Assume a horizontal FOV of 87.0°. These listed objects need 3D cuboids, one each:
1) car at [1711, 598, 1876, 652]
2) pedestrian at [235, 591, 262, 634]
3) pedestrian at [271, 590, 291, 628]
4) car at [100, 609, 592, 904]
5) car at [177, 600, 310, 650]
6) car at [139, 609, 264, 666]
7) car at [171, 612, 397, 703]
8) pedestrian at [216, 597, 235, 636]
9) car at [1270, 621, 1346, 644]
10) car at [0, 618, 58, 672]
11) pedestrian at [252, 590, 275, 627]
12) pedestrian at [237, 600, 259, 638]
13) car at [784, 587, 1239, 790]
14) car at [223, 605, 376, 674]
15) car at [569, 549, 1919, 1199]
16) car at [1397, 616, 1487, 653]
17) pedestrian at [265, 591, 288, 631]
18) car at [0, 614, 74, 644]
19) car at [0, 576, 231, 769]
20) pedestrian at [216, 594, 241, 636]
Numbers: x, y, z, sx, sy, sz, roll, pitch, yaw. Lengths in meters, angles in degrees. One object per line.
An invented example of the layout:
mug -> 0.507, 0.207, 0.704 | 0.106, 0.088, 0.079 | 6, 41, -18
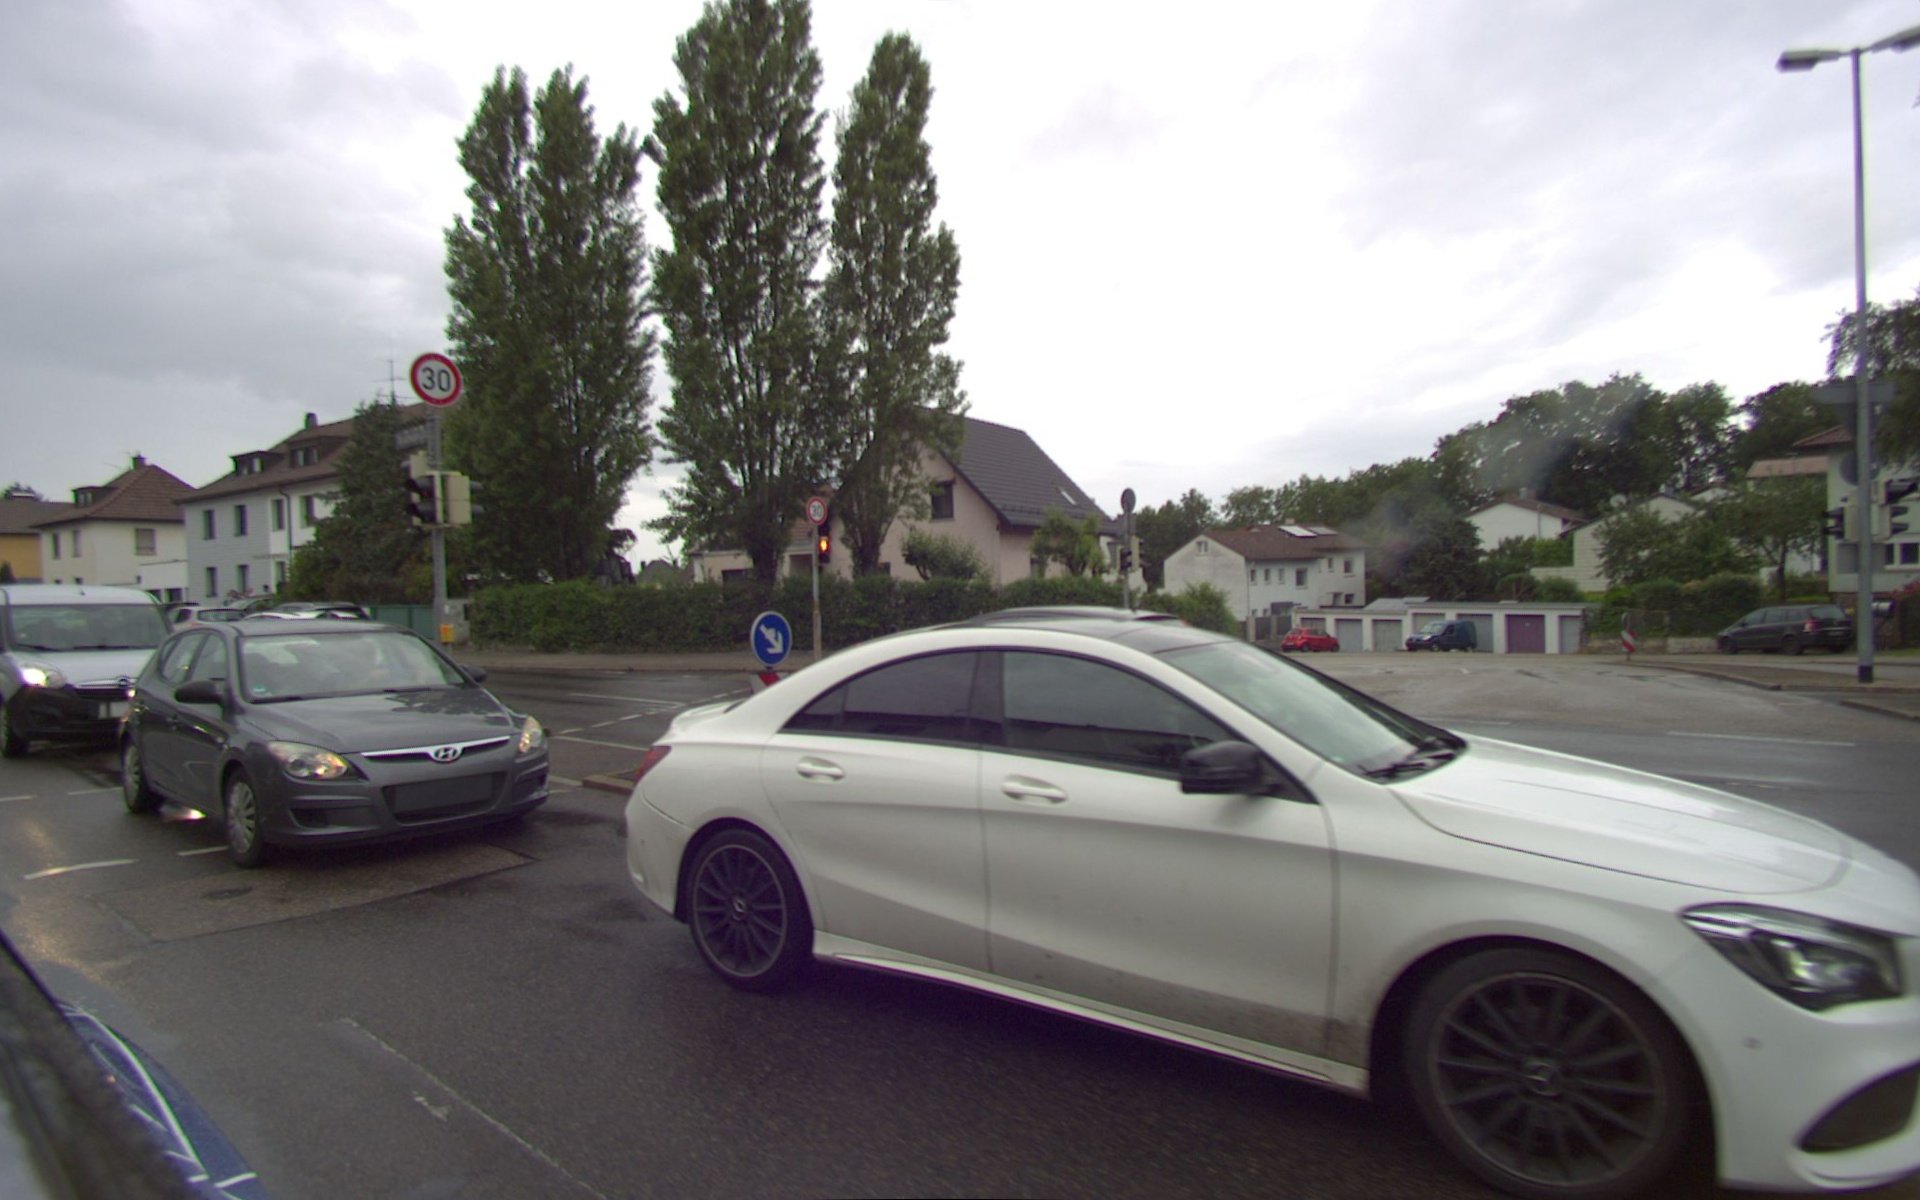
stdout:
car -> 28.142, 0.852, 34.374 | 1.910, 1.717, 4.199 | -1, -2, -3
pedestrian -> -31.541, 0.551, 44.855 | 0.685, 1.880, 0.726 | -1, 3, 39
pedestrian -> -30.772, 0.406, 45.884 | 0.512, 1.682, 0.511 | -1, 3, 39
car -> -4.552, 0.845, 7.253 | 4.055, 1.498, 1.816 | -1, 0, 40
car -> -29.229, 0.984, 41.390 | 1.868, 1.575, 3.956 | -2, 4, 34
car -> -22.802, 1.088, 30.393 | 4.132, 1.580, 1.790 | 0, 0, 34
car -> -13.059, 1.019, 19.467 | 4.754, 1.568, 1.822 | -1, -1, 32
pedestrian -> -34.594, 0.774, 47.665 | 0.687, 1.765, 0.442 | -1, 3, 35
car -> 21.048, 1.974, 61.241 | 4.022, 1.298, 1.914 | 0, -2, -23
car -> -28.274, 1.302, 29.609 | 3.988, 1.475, 1.838 | -2, 0, 33
pedestrian -> -32.237, 0.397, 46.856 | 0.574, 1.682, 0.578 | -1, 3, 32
pedestrian -> -33.664, 0.902, 47.842 | 0.560, 1.720, 0.582 | -1, 3, 32
car -> 0.434, 0.740, 9.864 | 3.989, 1.586, 1.977 | -2, -1, 34
car -> -17.631, 0.996, 26.948 | 4.586, 1.682, 1.790 | 0, 0, 34
car -> 0.774, 0.693, 3.875 | 4.638, 1.540, 1.893 | -1, 0, 33
car -> 25.499, 1.831, 53.562 | 4.022, 1.863, 1.945 | 0, -2, -19
pedestrian -> -30.278, 0.480, 44.846 | 0.664, 1.682, 0.693 | -4, 3, -27
car -> -51.418, 1.608, 55.320 | 1.831, 1.495, 4.075 | -2, -5, 26
car -> -10.719, 0.754, 12.132 | 4.738, 1.885, 1.933 | -1, -1, 37
pedestrian -> -32.351, 0.672, 44.770 | 0.539, 1.801, 0.662 | -1, 3, 37
